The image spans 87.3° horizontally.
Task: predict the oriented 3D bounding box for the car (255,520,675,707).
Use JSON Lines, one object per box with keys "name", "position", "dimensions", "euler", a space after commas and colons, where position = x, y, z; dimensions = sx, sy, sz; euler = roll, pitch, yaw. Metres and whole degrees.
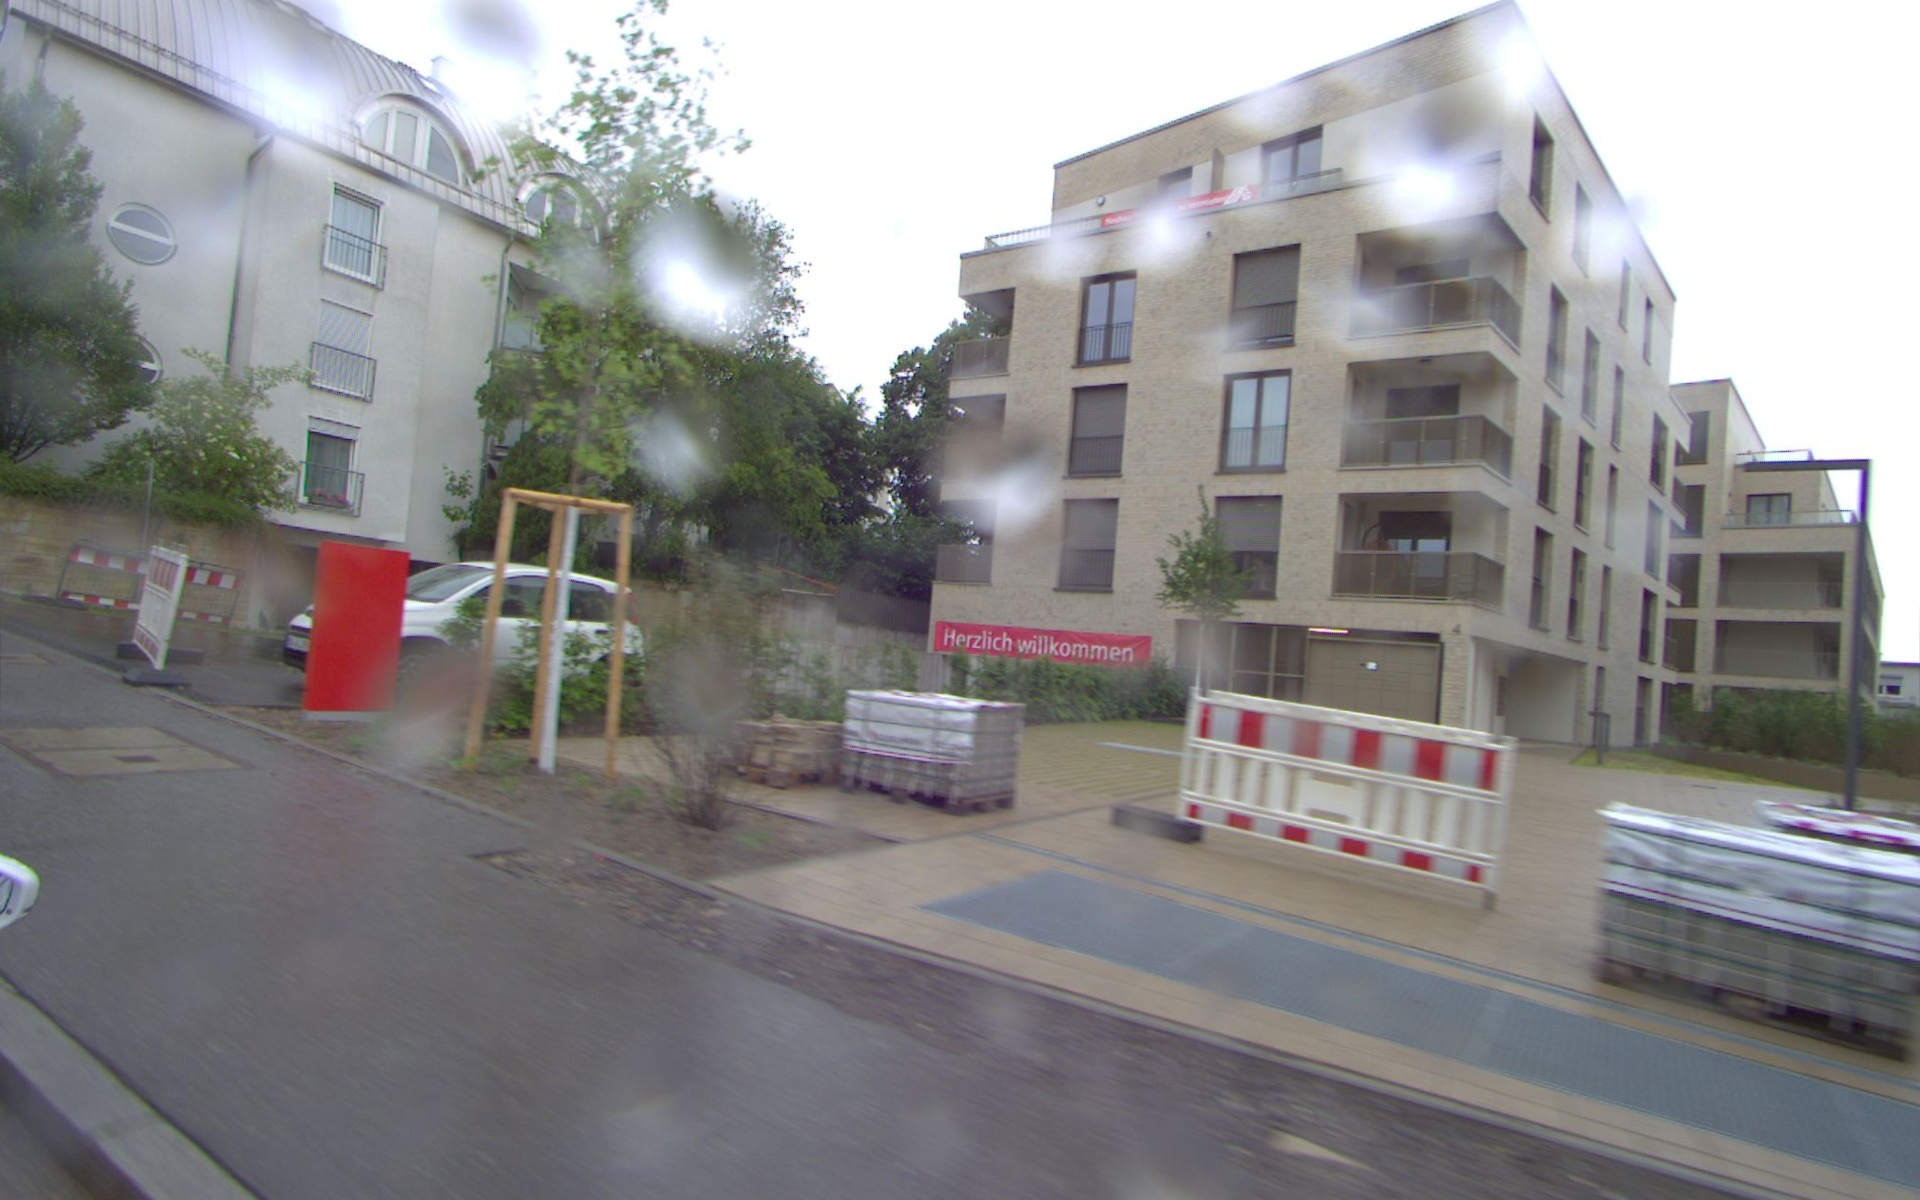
{"name": "car", "position": [-5.269, 0.246, 11.150], "dimensions": [1.748, 1.520, 3.673], "euler": [7, -2, 34]}
